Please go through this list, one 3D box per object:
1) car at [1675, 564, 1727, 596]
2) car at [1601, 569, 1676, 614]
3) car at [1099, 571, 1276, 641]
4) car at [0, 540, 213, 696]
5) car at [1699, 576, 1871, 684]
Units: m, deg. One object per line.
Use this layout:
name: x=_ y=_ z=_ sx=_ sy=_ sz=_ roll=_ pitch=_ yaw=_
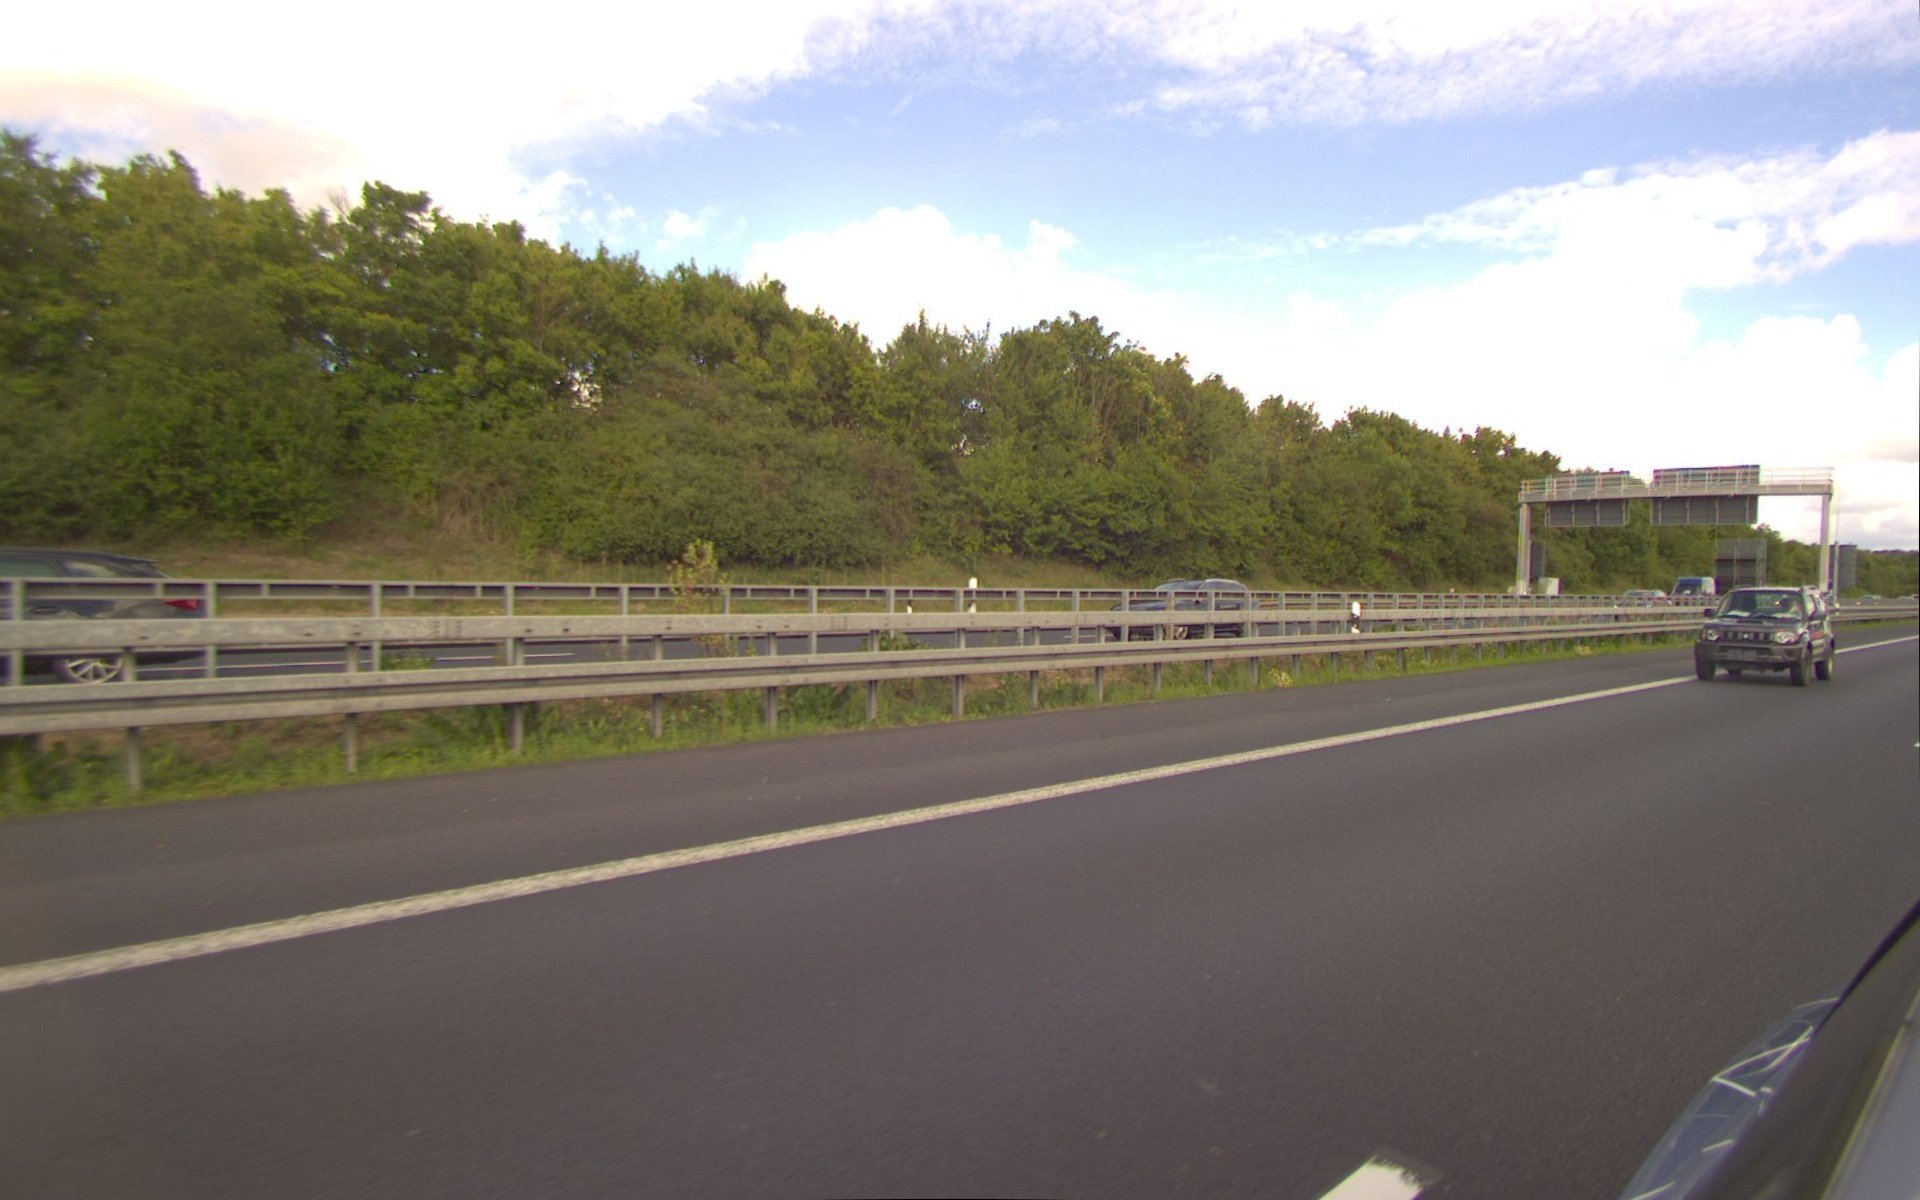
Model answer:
car: x=53.014 y=-1.420 z=72.377 sx=5.040 sy=2.212 sz=1.997 roll=0 pitch=2 yaw=-42
car: x=33.074 y=-0.434 z=49.292 sx=3.930 sy=2.038 sz=1.998 roll=0 pitch=3 yaw=-41
car: x=5.450 y=0.089 z=23.964 sx=4.236 sy=1.503 sz=1.997 roll=0 pitch=2 yaw=-42
car: x=-10.090 y=0.144 z=10.236 sx=3.931 sy=1.503 sz=1.997 roll=0 pitch=2 yaw=-42
car: x=15.338 y=0.474 z=18.745 sx=4.131 sy=1.754 sz=1.670 roll=0 pitch=2 yaw=-40
